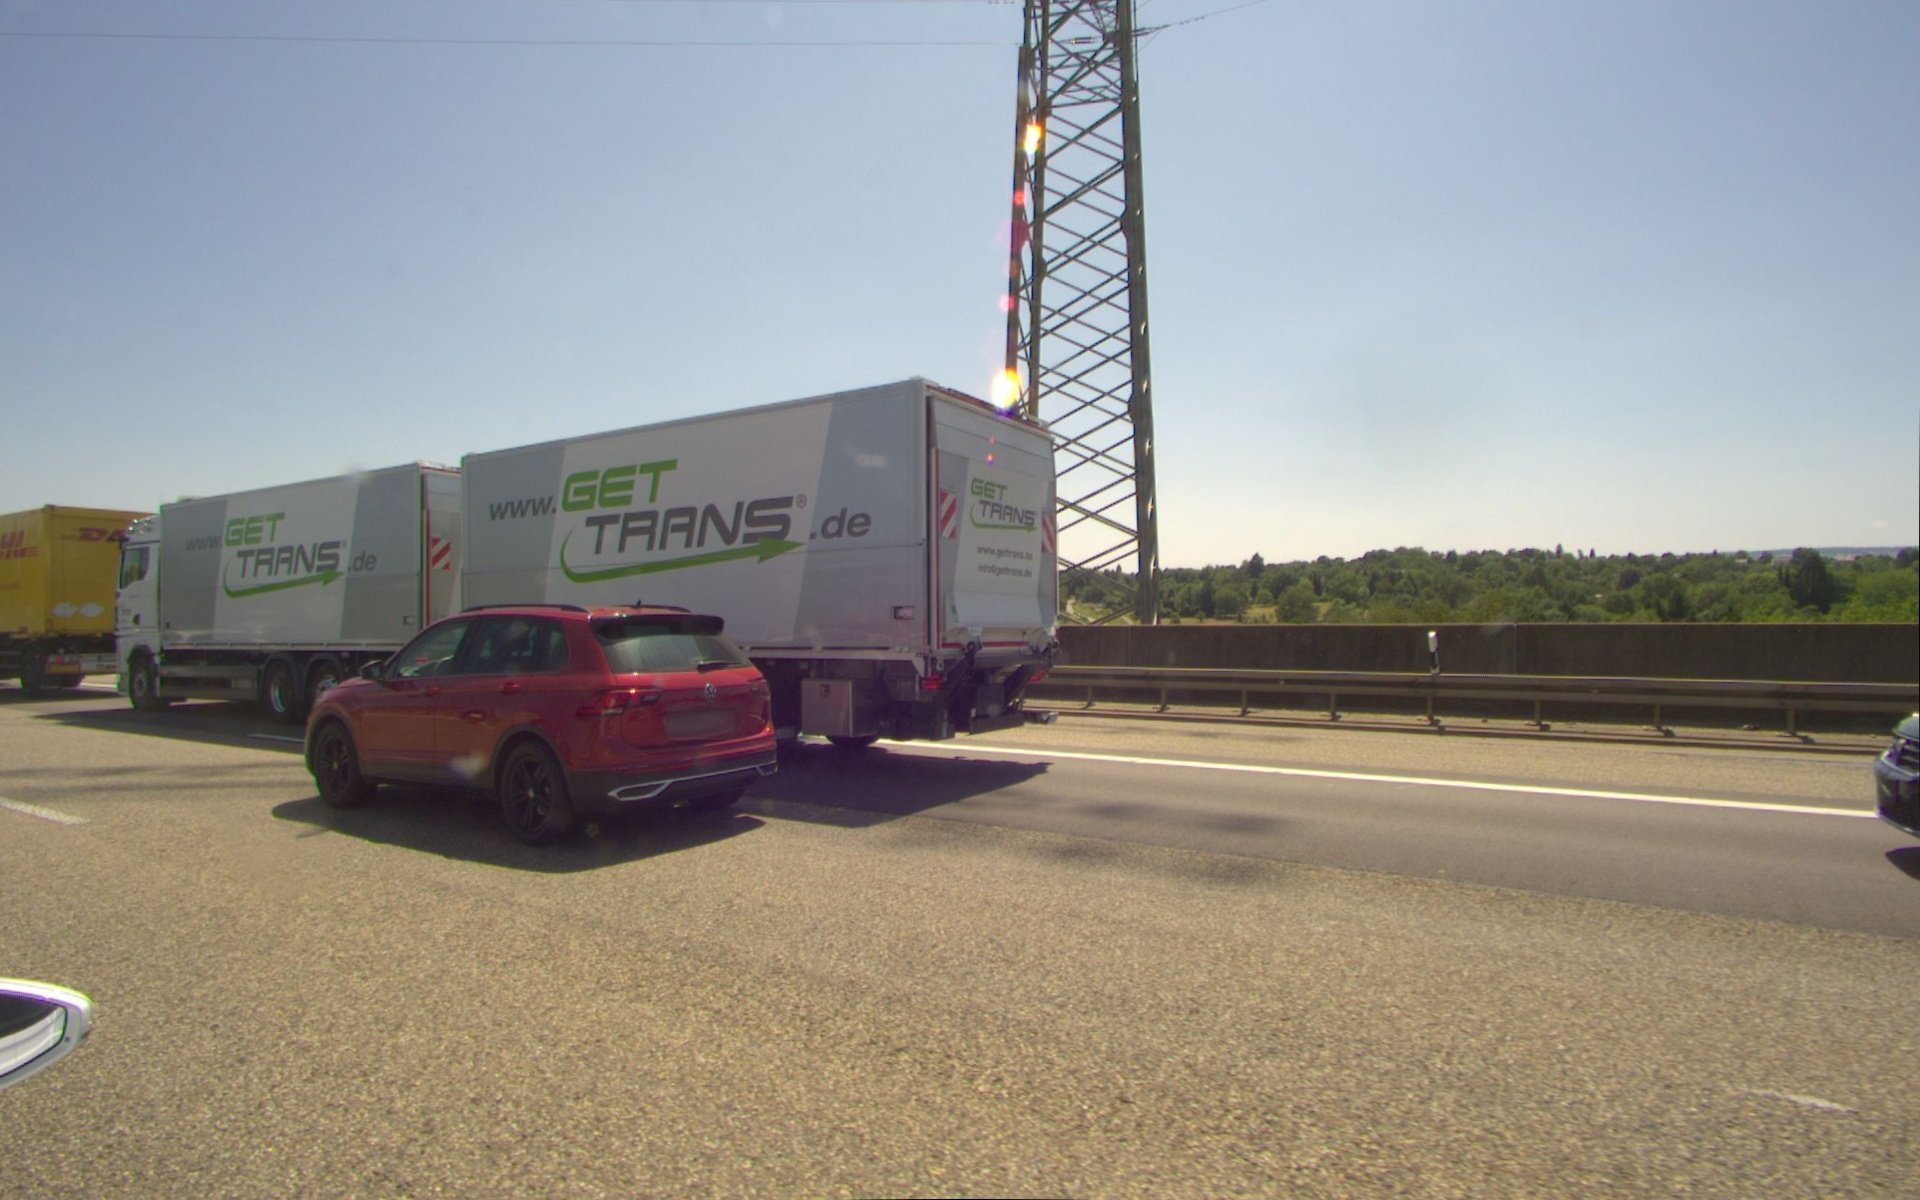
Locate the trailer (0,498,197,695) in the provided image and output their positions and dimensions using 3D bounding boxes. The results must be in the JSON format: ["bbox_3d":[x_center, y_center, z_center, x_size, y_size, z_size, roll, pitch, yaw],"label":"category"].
[{"bbox_3d":[-22.217,0.069,24.454,8.851,4.139,2.679,-2,-2,31],"label":"trailer"}]

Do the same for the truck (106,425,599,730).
[{"bbox_3d":[-10.740,-0.129,17.082,10.459,3.984,2.847,-2,-2,32],"label":"truck"}]

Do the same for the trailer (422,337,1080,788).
[{"bbox_3d":[-2.845,-0.190,12.133,8.098,3.940,2.894,-2,-2,32],"label":"trailer"}]

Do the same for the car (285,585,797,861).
[{"bbox_3d":[-3.465,0.831,8.034,4.224,1.700,1.705,-2,-2,33],"label":"car"}]

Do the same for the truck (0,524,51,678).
[{"bbox_3d":[-30.176,0.134,29.305,9.797,4.139,2.695,-2,-2,32],"label":"truck"}]

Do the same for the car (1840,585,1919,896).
[{"bbox_3d":[7.309,0.732,5.044,4.060,1.675,1.705,-2,-2,33],"label":"car"}]
